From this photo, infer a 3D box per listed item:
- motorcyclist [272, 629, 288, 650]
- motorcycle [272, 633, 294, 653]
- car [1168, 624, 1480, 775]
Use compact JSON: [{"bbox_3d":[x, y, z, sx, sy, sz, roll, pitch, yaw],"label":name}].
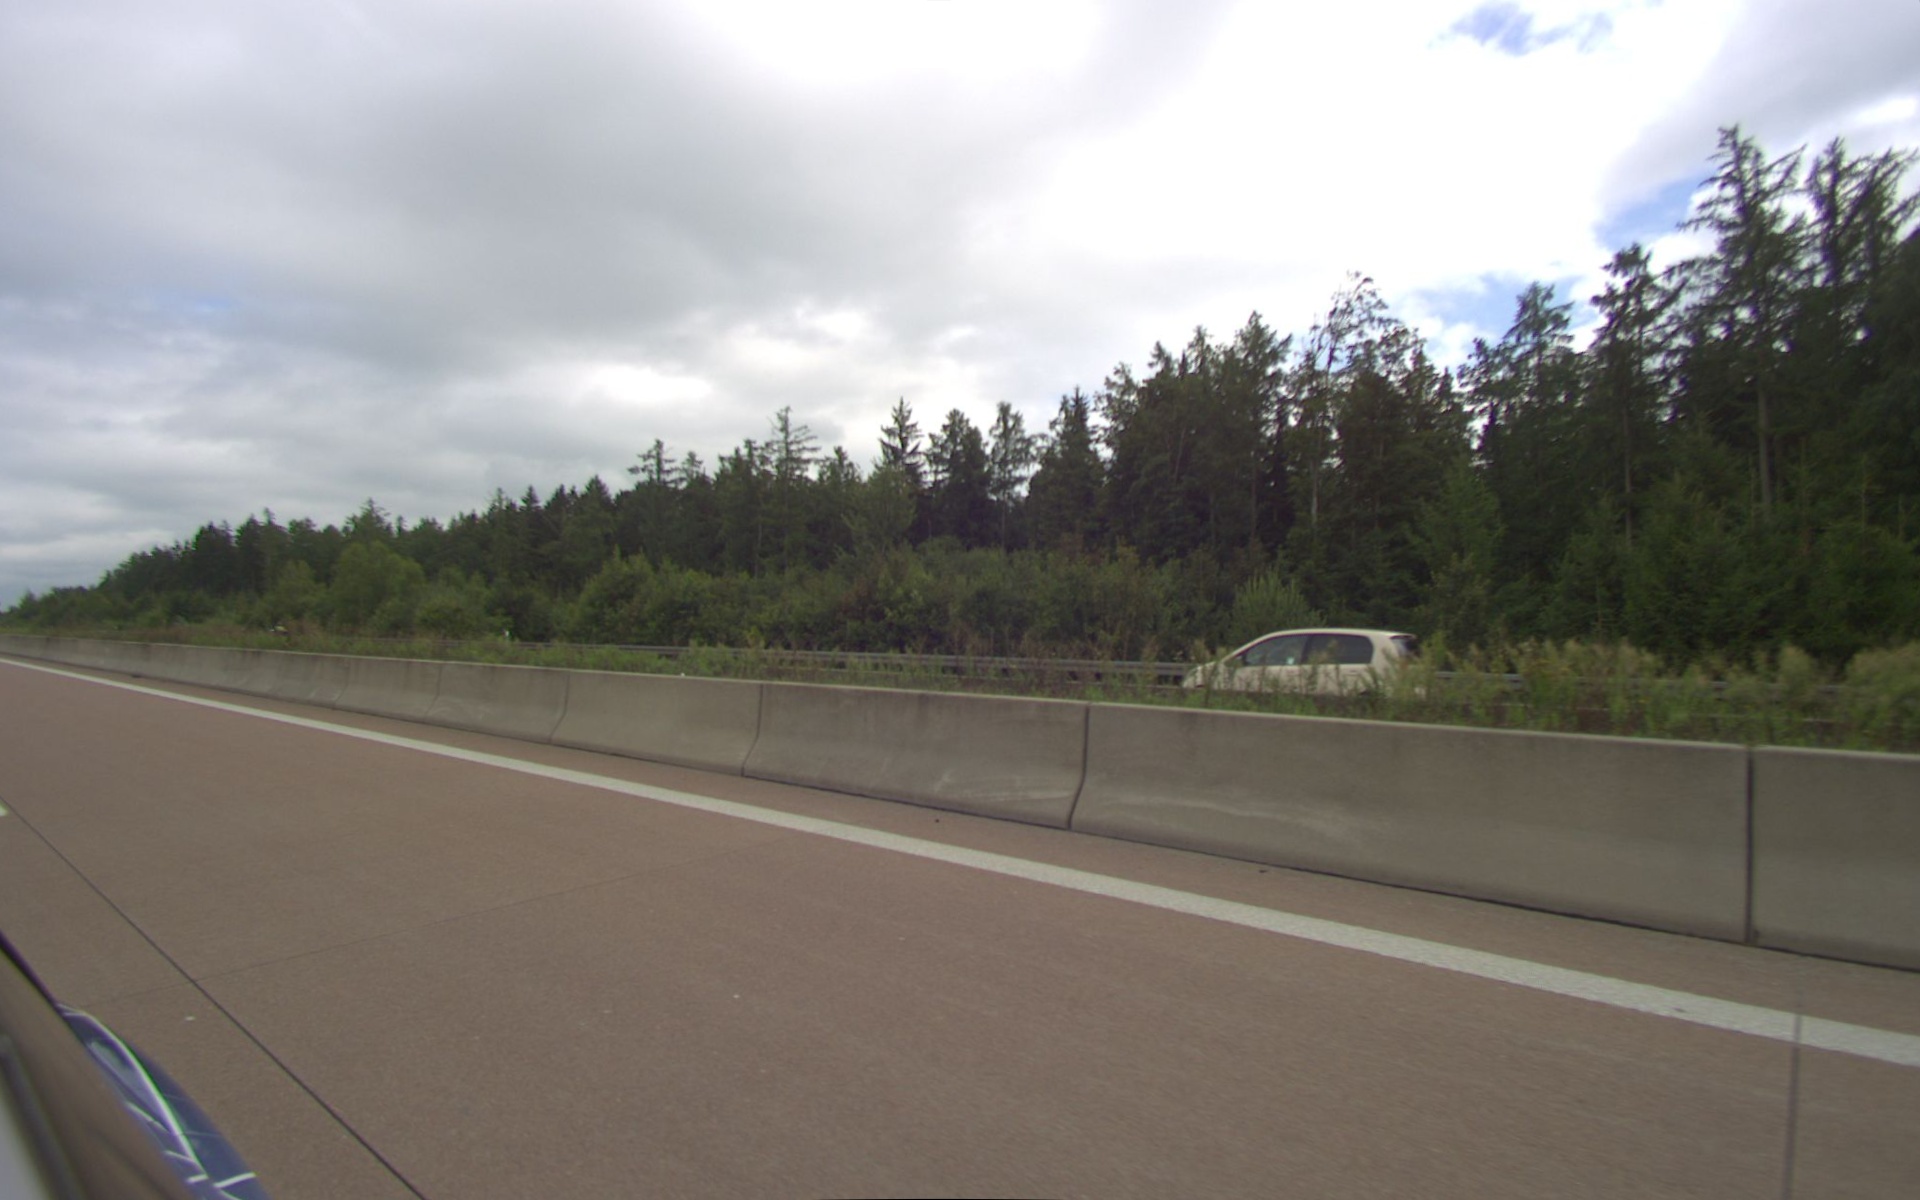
[{"bbox_3d":[-42.125,2.428,62.710,0.801,1.293,0.588,-1,0,41],"label":"motorcyclist"},{"bbox_3d":[-41.737,2.639,62.372,2.153,1.164,0.594,-1,0,41],"label":"motorcycle"},{"bbox_3d":[5.059,1.267,14.298,3.751,1.786,1.765,-2,0,41],"label":"car"}]
